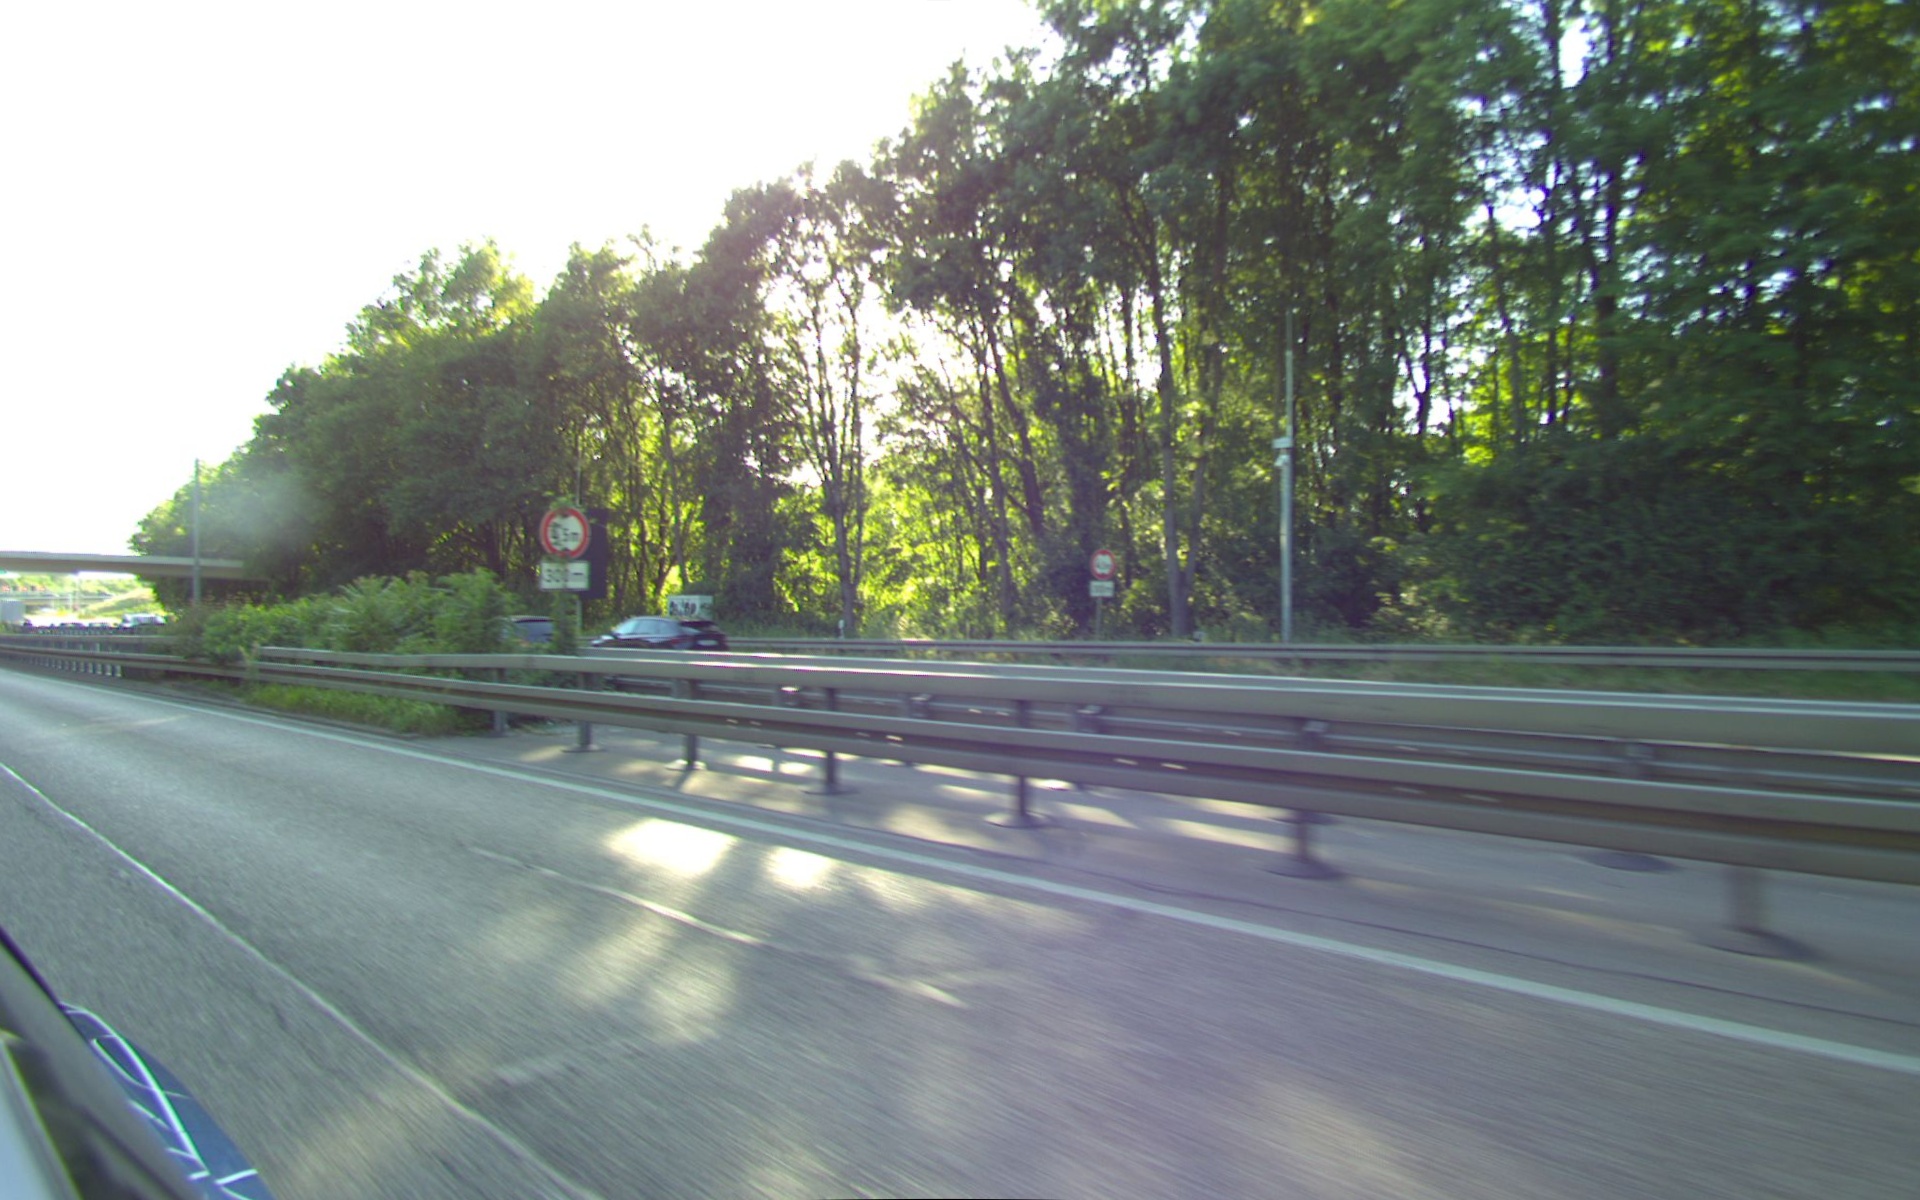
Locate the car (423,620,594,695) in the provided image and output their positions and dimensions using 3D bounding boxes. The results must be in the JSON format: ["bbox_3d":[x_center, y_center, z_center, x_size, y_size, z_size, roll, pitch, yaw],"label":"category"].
[{"bbox_3d":[-10.262,1.237,22.885,4.116,1.551,1.973,-1,-2,41],"label":"car"}]

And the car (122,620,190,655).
[{"bbox_3d":[-36.845,1.702,46.339,3.941,1.508,1.732,-1,-2,41],"label":"car"}]

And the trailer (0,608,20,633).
[{"bbox_3d":[-126.781,2.695,133.653,11.914,3.192,2.898,-1,-3,42],"label":"trailer"}]

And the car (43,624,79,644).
[{"bbox_3d":[-83.372,3.157,93.838,4.341,1.763,1.972,-1,-2,41],"label":"car"}]

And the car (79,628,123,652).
[{"bbox_3d":[-66.131,3.047,77.907,4.371,1.763,1.972,-1,-2,41],"label":"car"}]

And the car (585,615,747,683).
[{"bbox_3d":[-7.376,1.185,25.240,4.116,1.551,1.973,-1,-2,41],"label":"car"}]

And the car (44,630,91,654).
[{"bbox_3d":[-56.632,2.647,64.187,4.394,1.500,1.712,-2,-2,41],"label":"car"}]
